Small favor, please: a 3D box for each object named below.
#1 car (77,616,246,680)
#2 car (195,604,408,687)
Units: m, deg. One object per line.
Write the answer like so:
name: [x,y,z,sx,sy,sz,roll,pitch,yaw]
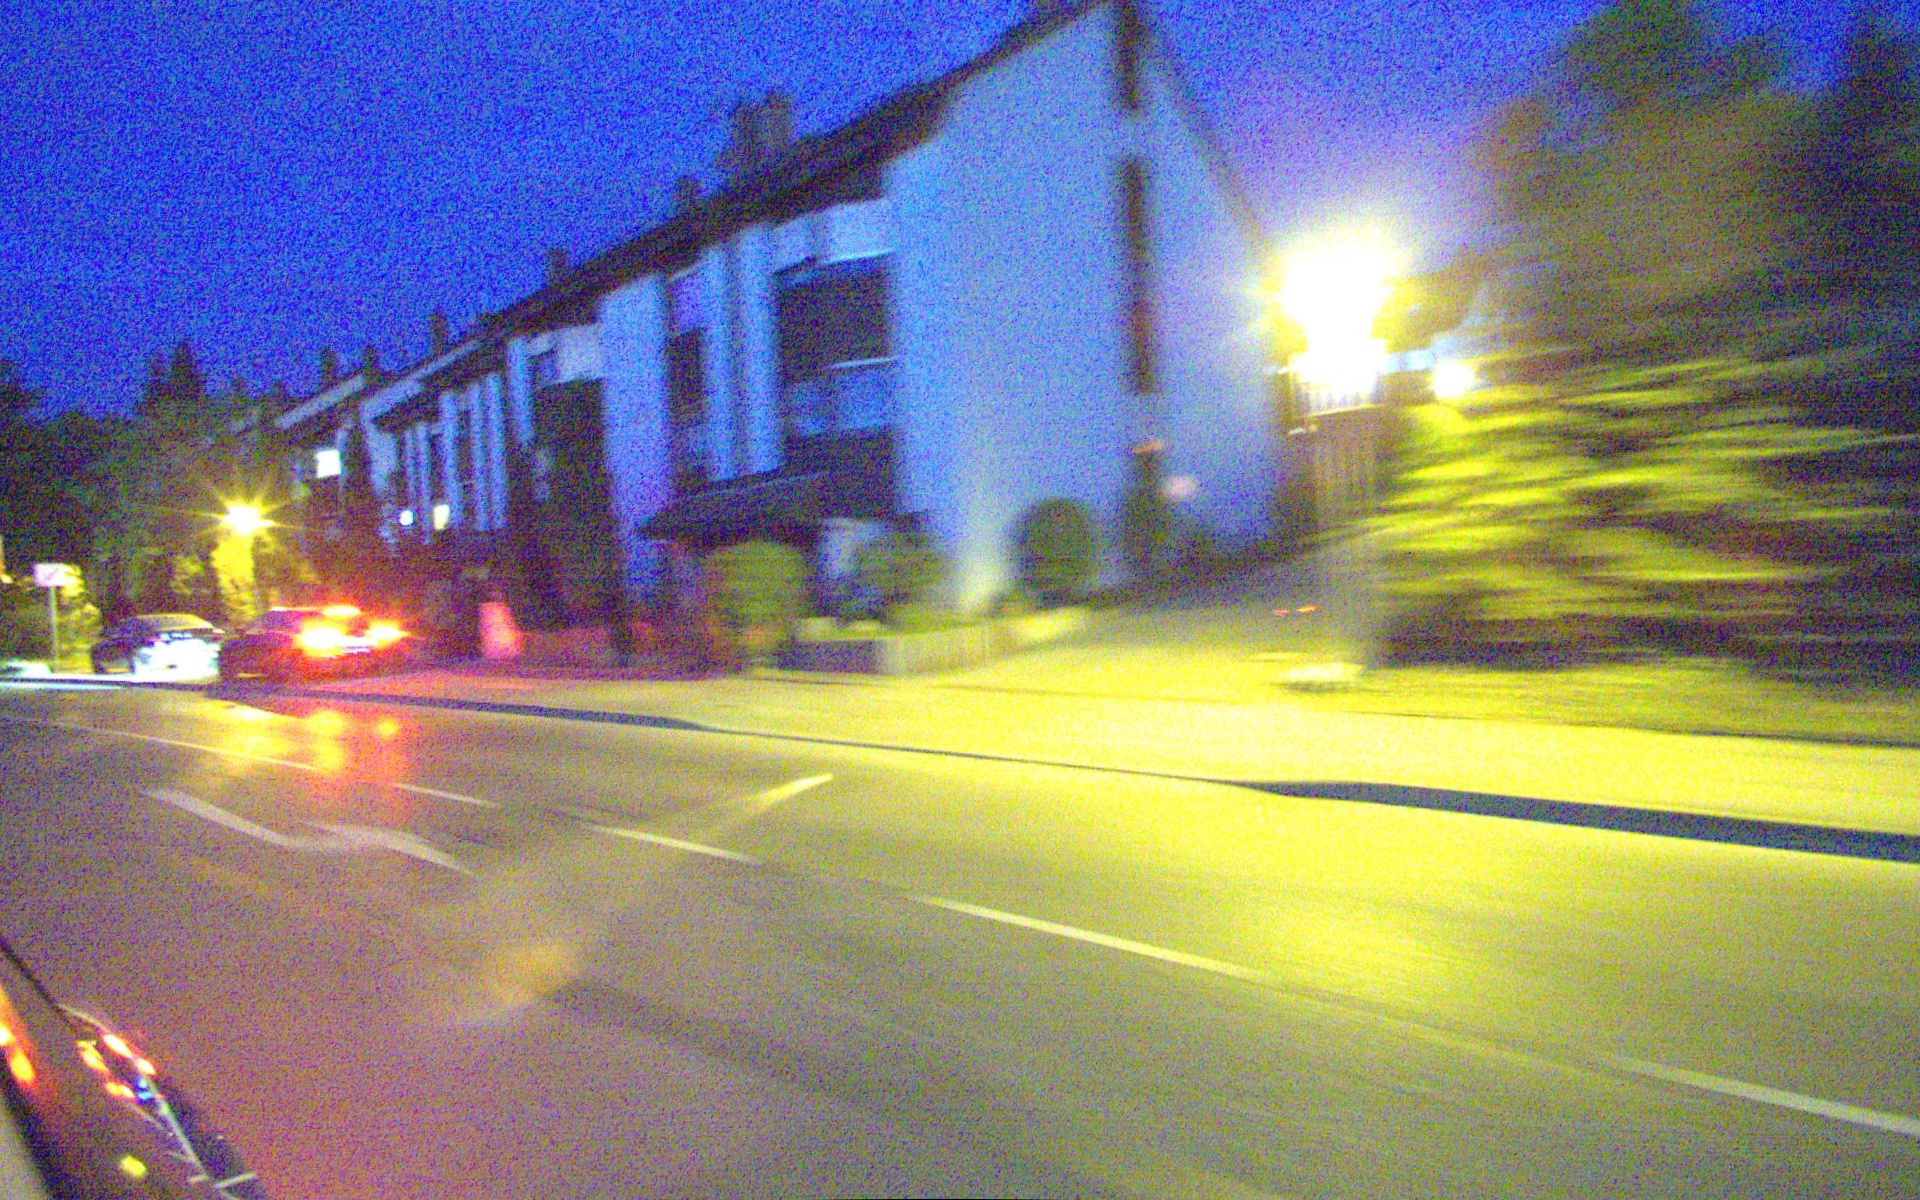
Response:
car: [-20.238,1.189,25.603,4.584,1.390,1.978,-2,1,33]
car: [-13.593,0.911,20.792,4.902,1.456,1.834,-2,1,33]
